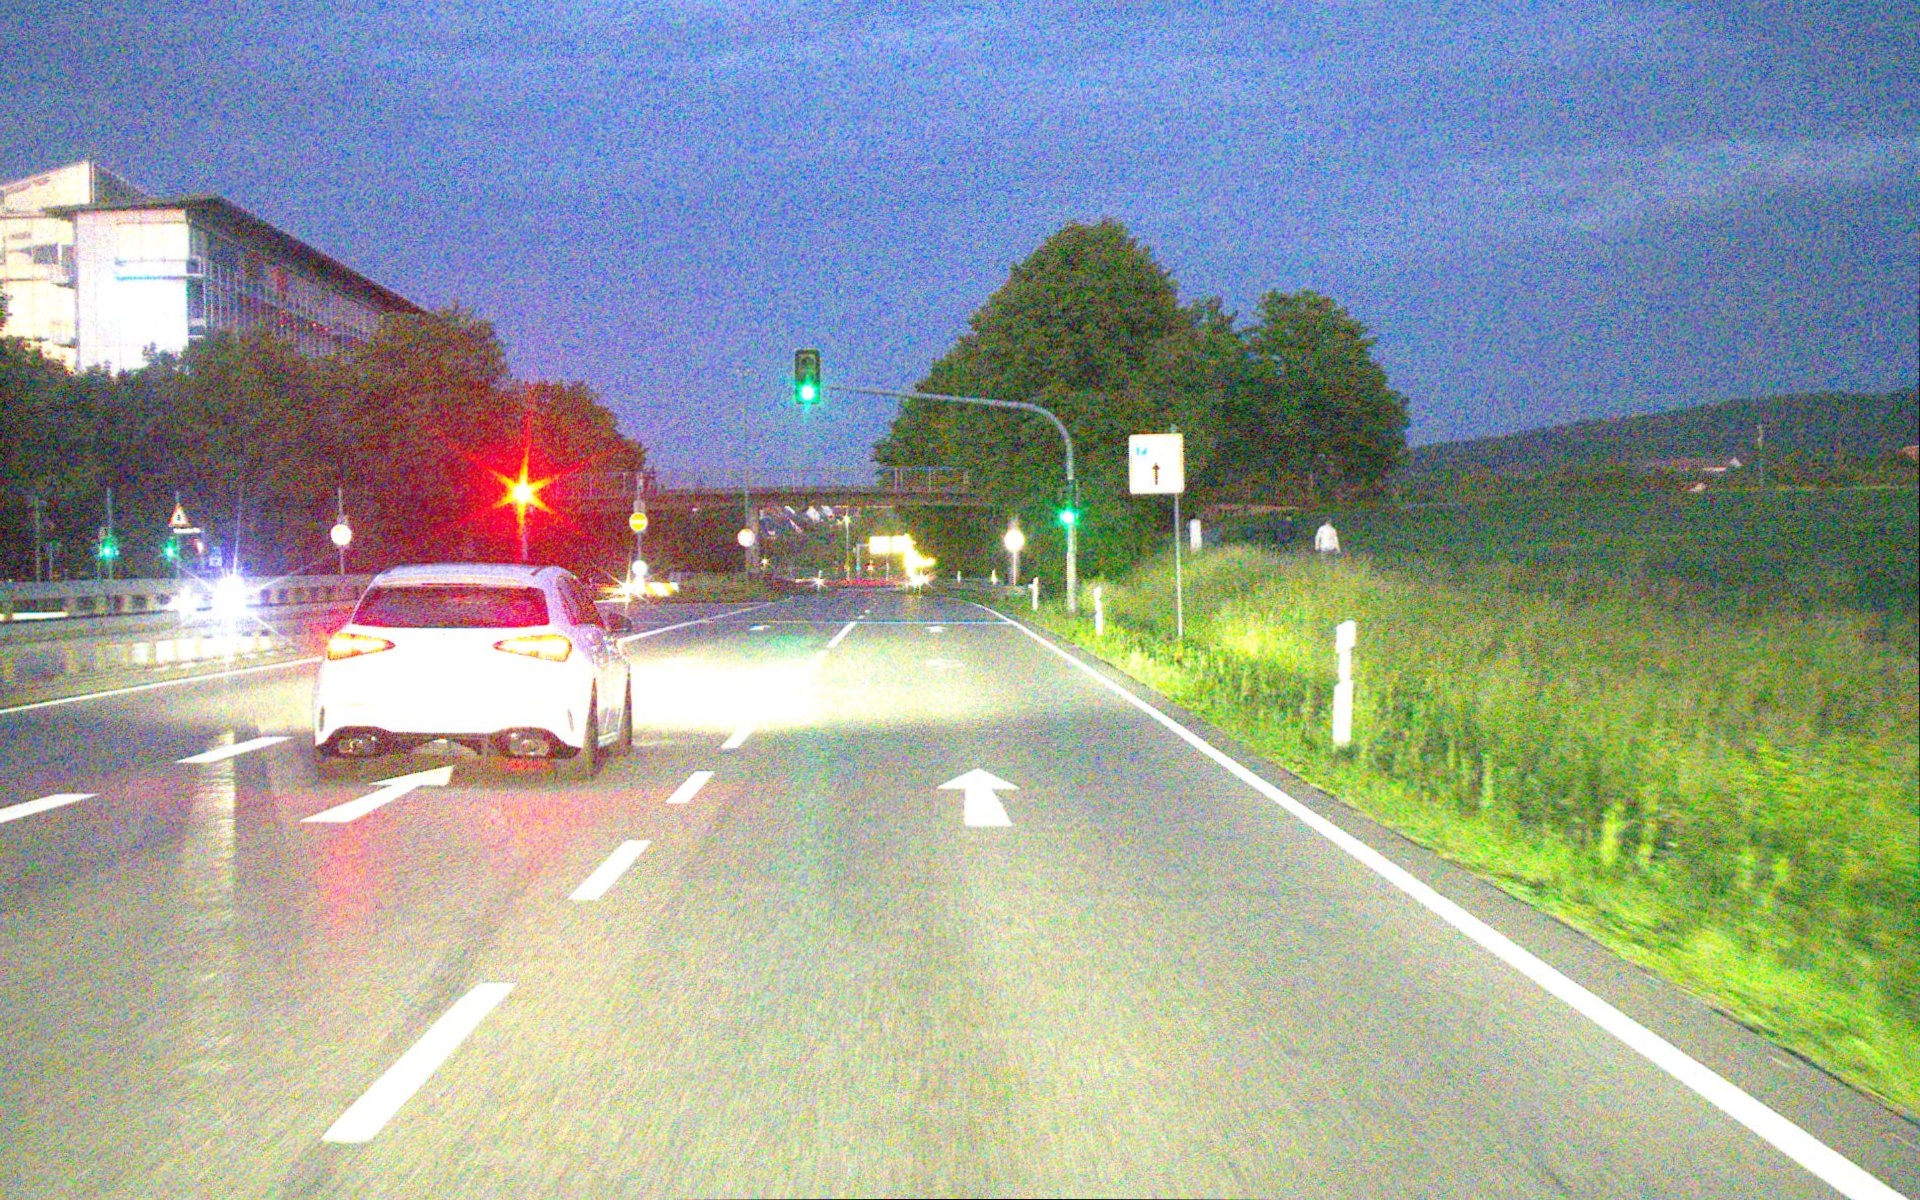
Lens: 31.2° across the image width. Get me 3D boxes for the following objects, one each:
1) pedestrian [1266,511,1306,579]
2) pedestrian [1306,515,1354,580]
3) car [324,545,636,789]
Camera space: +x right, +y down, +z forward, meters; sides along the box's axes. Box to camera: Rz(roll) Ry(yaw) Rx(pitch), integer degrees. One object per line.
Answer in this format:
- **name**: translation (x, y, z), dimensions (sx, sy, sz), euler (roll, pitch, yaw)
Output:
- **pedestrian**: translation (8.652, -1.458, 91.340), dimensions (0.921, 1.787, 1.106), euler (0, 1, -1)
- **pedestrian**: translation (9.828, -1.397, 91.272), dimensions (1.090, 1.717, 1.260), euler (0, 1, -1)
- **car**: translation (-3.210, 0.385, 23.747), dimensions (1.642, 1.485, 4.580), euler (0, 1, -2)
